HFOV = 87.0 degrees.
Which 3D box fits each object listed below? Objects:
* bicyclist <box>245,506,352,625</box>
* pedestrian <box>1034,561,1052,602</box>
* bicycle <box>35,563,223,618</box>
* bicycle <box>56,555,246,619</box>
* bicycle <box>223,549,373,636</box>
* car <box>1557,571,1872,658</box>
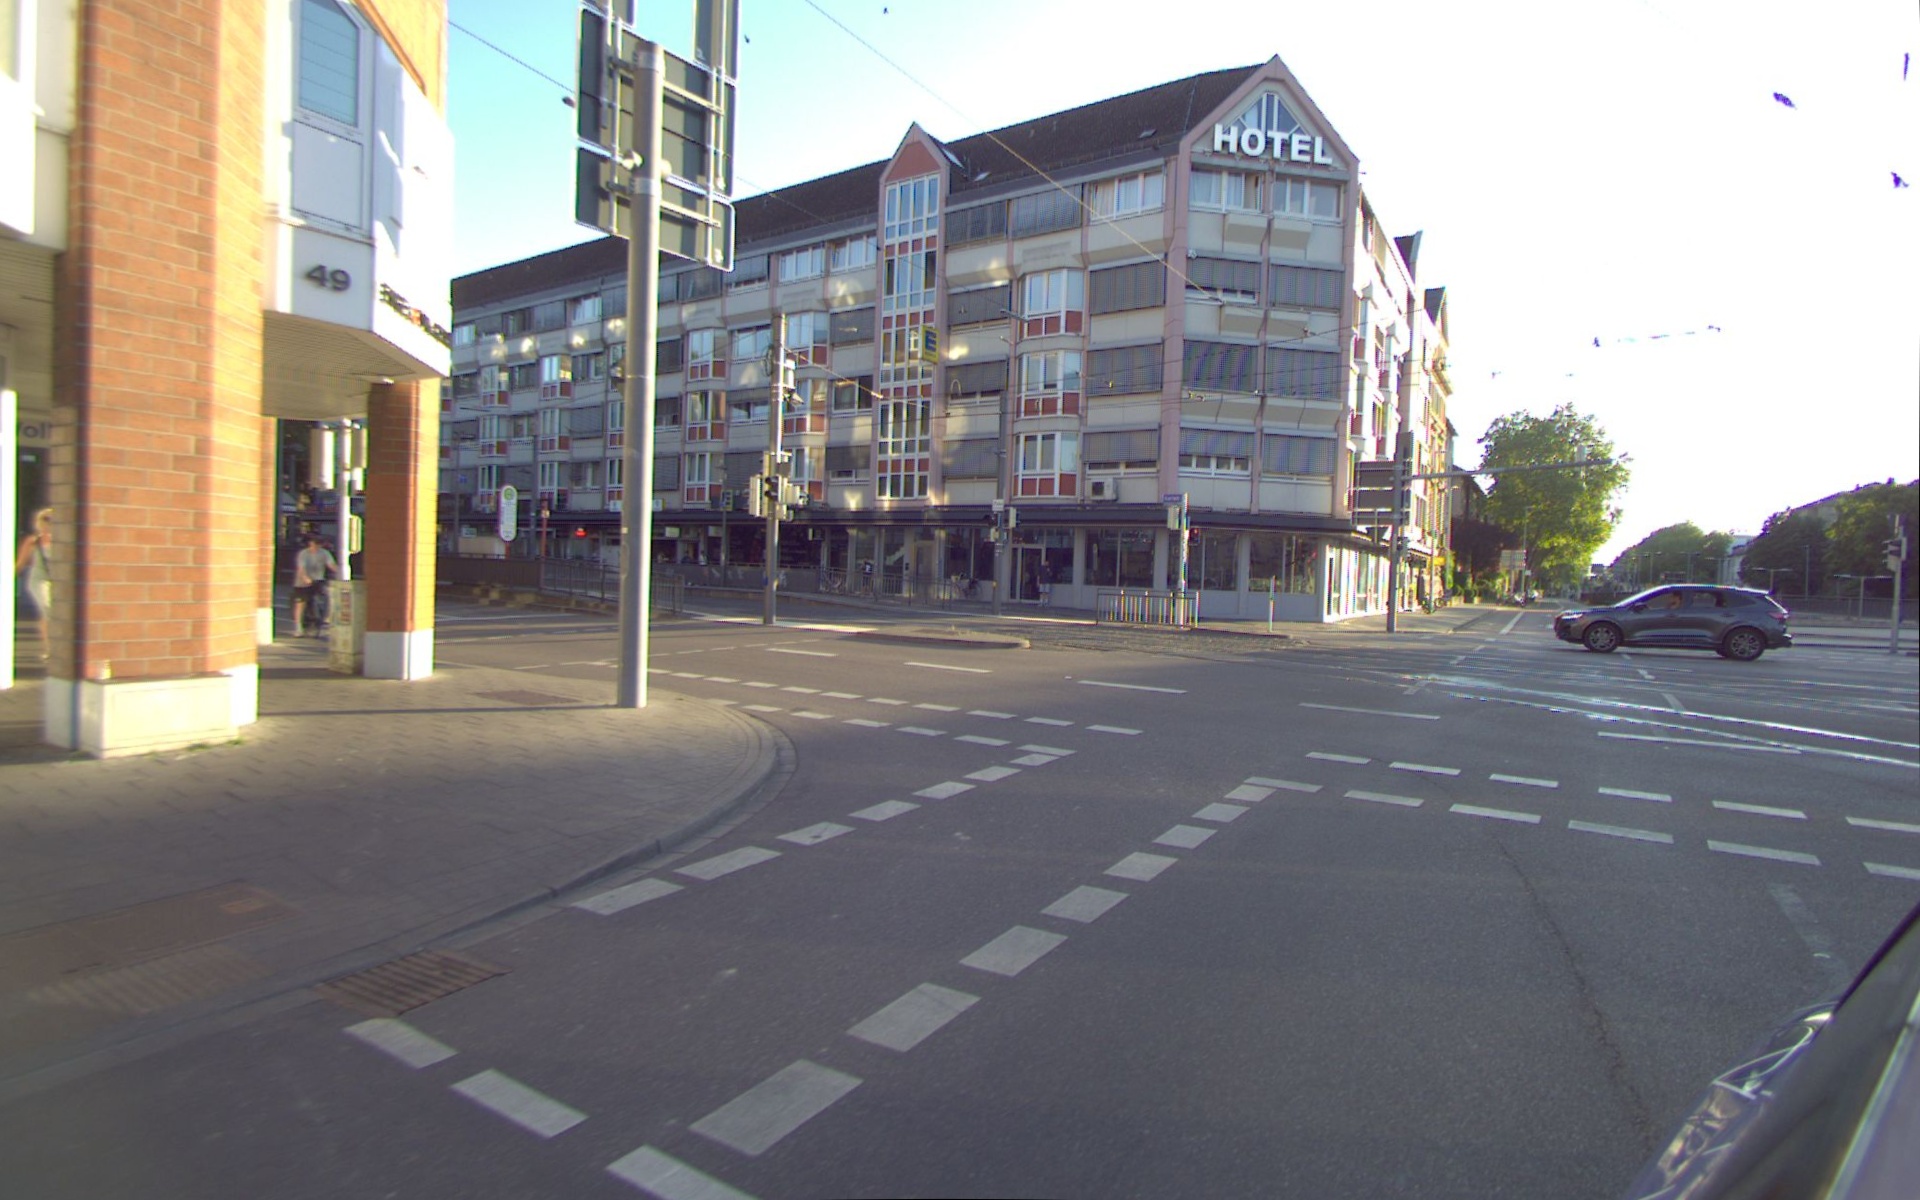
[{"bbox_3d":[-11.088,-0.562,16.970,1.225,1.885,1.002,2,-2,33],"label":"bicyclist"},{"bbox_3d":[3.132,-0.698,38.292,0.467,1.511,0.473,1,1,-21],"label":"pedestrian"},{"bbox_3d":[-16.009,-0.219,19.599,0.807,0.984,2.705,1,2,35],"label":"bicycle"},{"bbox_3d":[-15.202,-0.266,19.120,0.808,1.116,2.704,2,2,36],"label":"bicycle"},{"bbox_3d":[-11.104,-0.141,16.938,2.776,1.308,1.005,2,-2,33],"label":"bicycle"},{"bbox_3d":[17.211,0.253,23.552,5.526,1.648,2.012,3,2,28],"label":"car"}]
